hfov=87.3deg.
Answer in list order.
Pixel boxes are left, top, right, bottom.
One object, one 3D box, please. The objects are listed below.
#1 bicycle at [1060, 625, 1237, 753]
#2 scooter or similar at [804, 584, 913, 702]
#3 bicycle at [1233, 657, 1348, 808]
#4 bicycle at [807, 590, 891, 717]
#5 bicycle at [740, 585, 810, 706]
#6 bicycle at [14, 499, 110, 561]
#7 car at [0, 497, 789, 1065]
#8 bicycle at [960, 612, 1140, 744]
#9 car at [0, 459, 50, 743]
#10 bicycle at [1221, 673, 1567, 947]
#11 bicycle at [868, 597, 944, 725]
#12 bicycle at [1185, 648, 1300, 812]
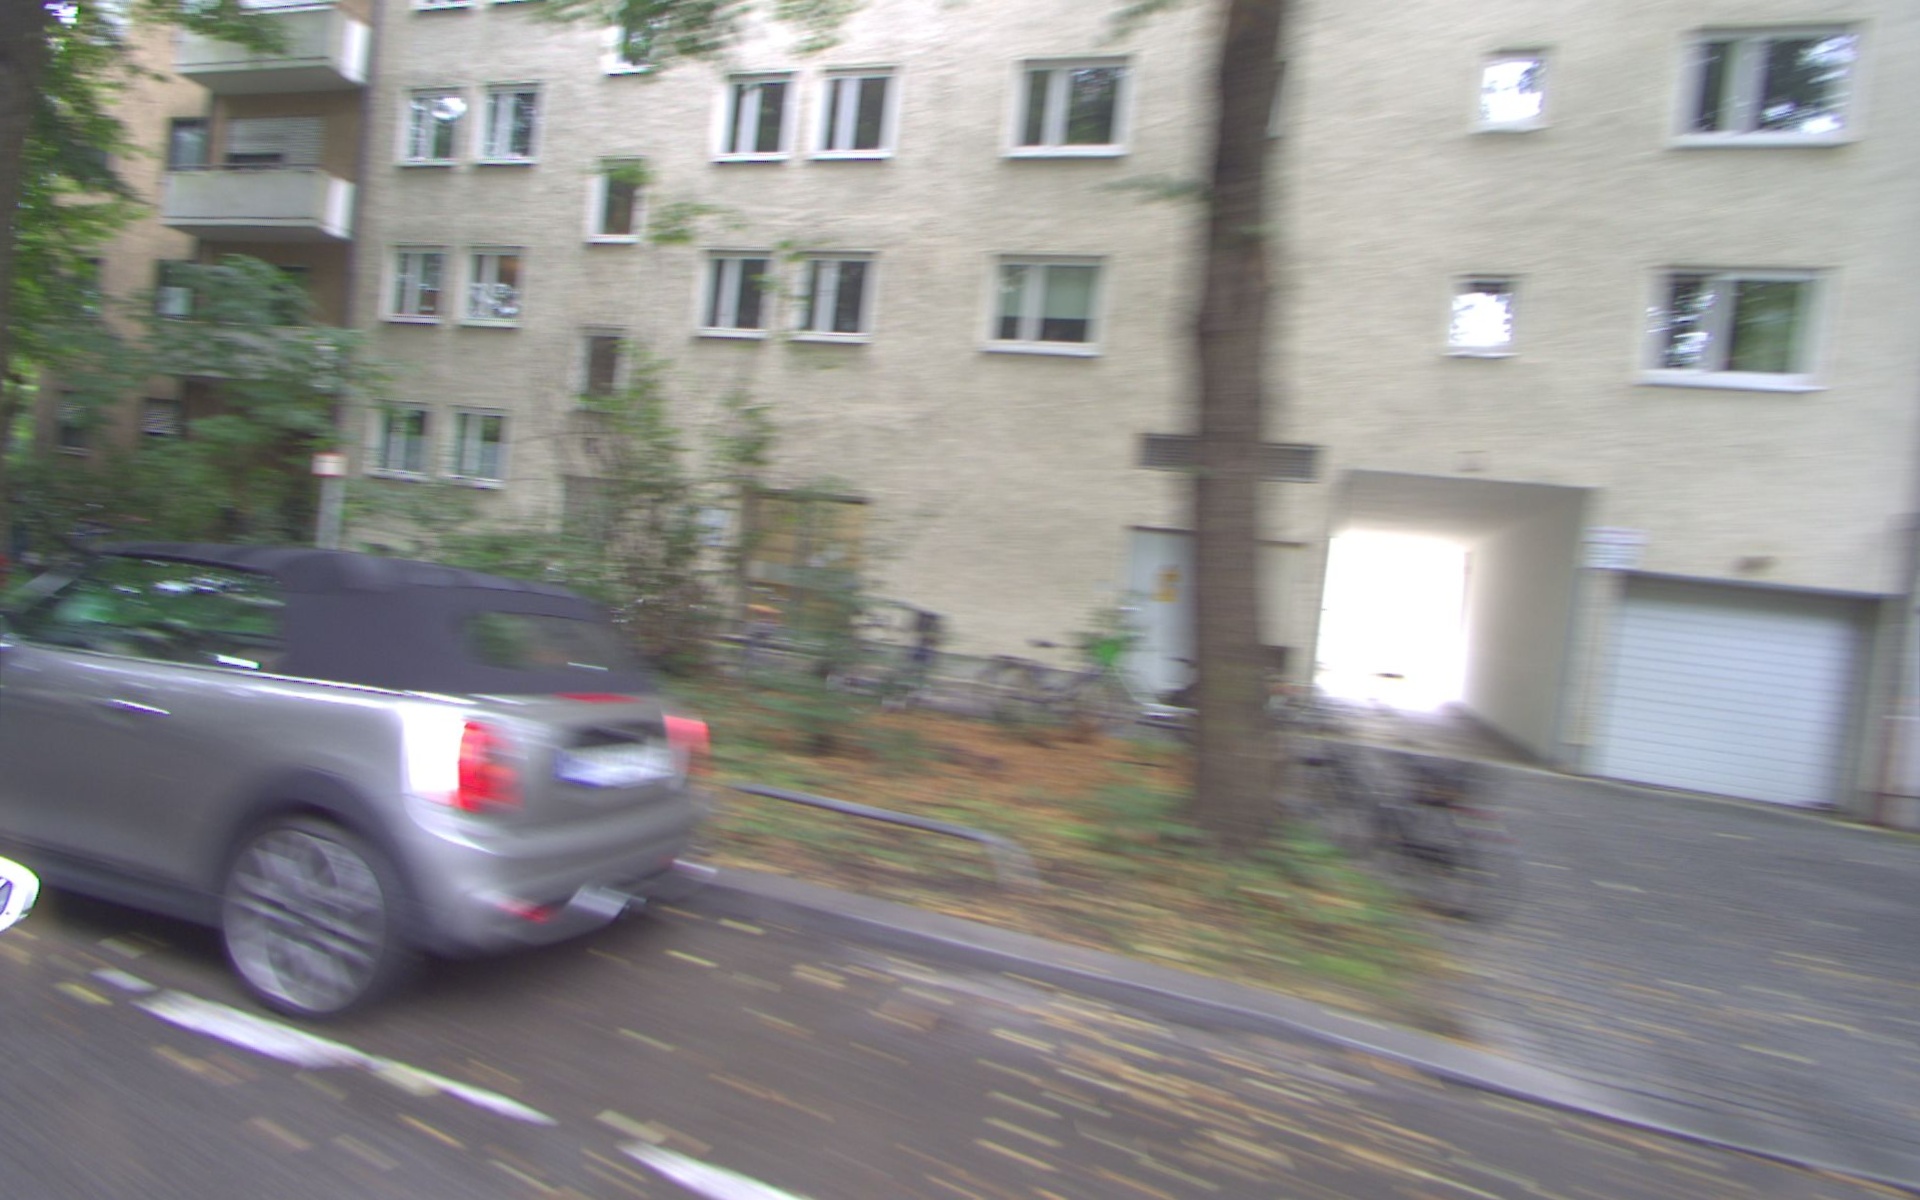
[{"bbox_3d":[2.034,0.951,10.976,1.737,1.138,0.446,7,1,8],"label":"bicycle"},{"bbox_3d":[-1.232,0.514,12.168,1.115,1.268,0.385,7,1,19],"label":"scooter or similar"},{"bbox_3d":[3.035,1.167,9.402,0.530,1.138,1.878,7,0,7],"label":"bicycle"},{"bbox_3d":[-1.187,0.506,10.470,0.439,1.138,1.765,7,0,-17],"label":"bicycle"},{"bbox_3d":[-2.021,0.442,10.838,0.439,1.138,1.765,7,0,-17],"label":"bicycle"},{"bbox_3d":[-18.265,-1.424,20.462,1.802,1.057,0.555,7,2,17],"label":"bicycle"},{"bbox_3d":[-3.199,0.395,4.415,4.346,1.431,1.904,7,1,18],"label":"car"},{"bbox_3d":[0.951,0.801,10.610,1.737,1.138,0.446,7,1,8],"label":"bicycle"},{"bbox_3d":[-7.877,-0.277,5.847,4.441,1.649,1.837,7,0,19],"label":"car"},{"bbox_3d":[2.470,1.158,6.036,0.755,1.178,1.862,6,1,-18],"label":"bicycle"},{"bbox_3d":[-0.513,0.581,10.289,0.437,1.138,1.948,7,0,3],"label":"bicycle"},{"bbox_3d":[2.362,1.031,8.605,0.530,1.138,1.878,7,0,7],"label":"bicycle"}]
